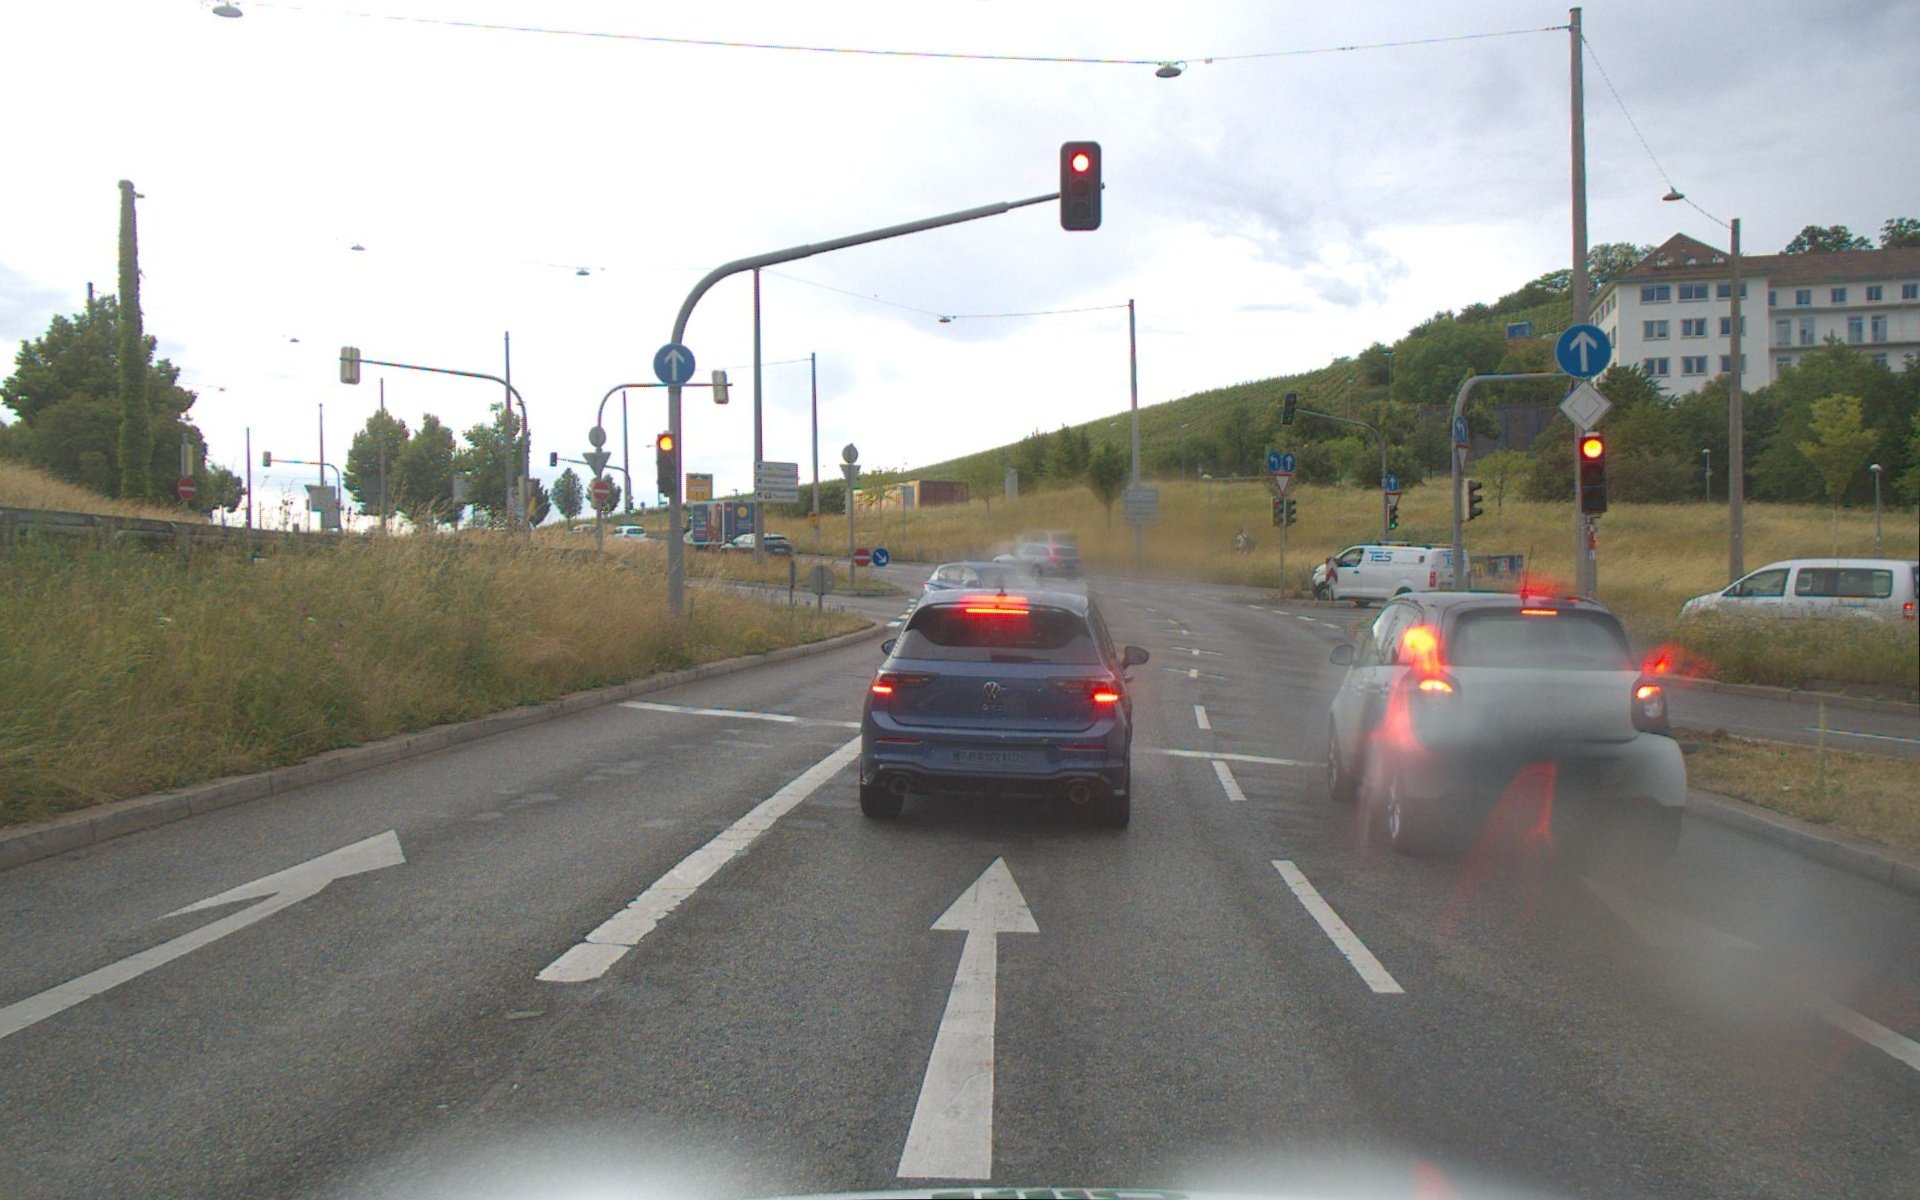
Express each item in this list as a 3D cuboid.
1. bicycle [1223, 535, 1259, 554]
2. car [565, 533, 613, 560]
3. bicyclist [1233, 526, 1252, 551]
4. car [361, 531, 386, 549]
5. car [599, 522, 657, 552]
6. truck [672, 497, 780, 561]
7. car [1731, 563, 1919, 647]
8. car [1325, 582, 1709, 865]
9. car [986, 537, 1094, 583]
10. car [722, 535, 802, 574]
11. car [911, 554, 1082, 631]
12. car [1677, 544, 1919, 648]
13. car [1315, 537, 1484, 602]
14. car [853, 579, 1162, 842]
[{"bbox_3d":[12.729,-2.528,74.995,0.515,0.788,1.597,3,1,-40],"label":"bicycle"},{"bbox_3d":[-25.564,-3.692,113.883,1.972,1.688,4.500,1,0,-30],"label":"car"},{"bbox_3d":[12.791,-2.793,74.921,0.520,1.065,0.572,3,1,-40],"label":"bicyclist"},{"bbox_3d":[-60.259,-6.170,169.844,1.735,1.735,3.699,3,1,-30],"label":"car"},{"bbox_3d":[-20.504,-3.880,101.982,1.976,1.688,4.491,1,0,-34],"label":"car"},{"bbox_3d":[-12.601,-3.827,88.795,3.231,3.127,6.102,3,1,-35],"label":"truck"},{"bbox_3d":[18.610,0.103,34.186,1.981,1.649,4.460,1,0,-40],"label":"car"},{"bbox_3d":[3.455,0.686,10.878,1.623,1.529,3.453,1,0,5],"label":"car"},{"bbox_3d":[3.118,-1.524,65.086,1.976,1.688,4.491,1,0,-34],"label":"car"},{"bbox_3d":[-9.244,-2.088,76.835,1.976,1.688,4.302,1,0,-34],"label":"car"},{"bbox_3d":[0.698,-0.151,34.720,1.676,1.501,4.250,1,0,-29],"label":"car"},{"bbox_3d":[16.631,-0.077,32.199,1.804,1.882,4.631,1,0,-39],"label":"car"},{"bbox_3d":[13.065,-0.872,49.433,2.109,1.826,4.687,1,0,-33],"label":"car"},{"bbox_3d":[0.432,0.615,11.535,1.786,1.486,3.811,1,1,5],"label":"car"}]
